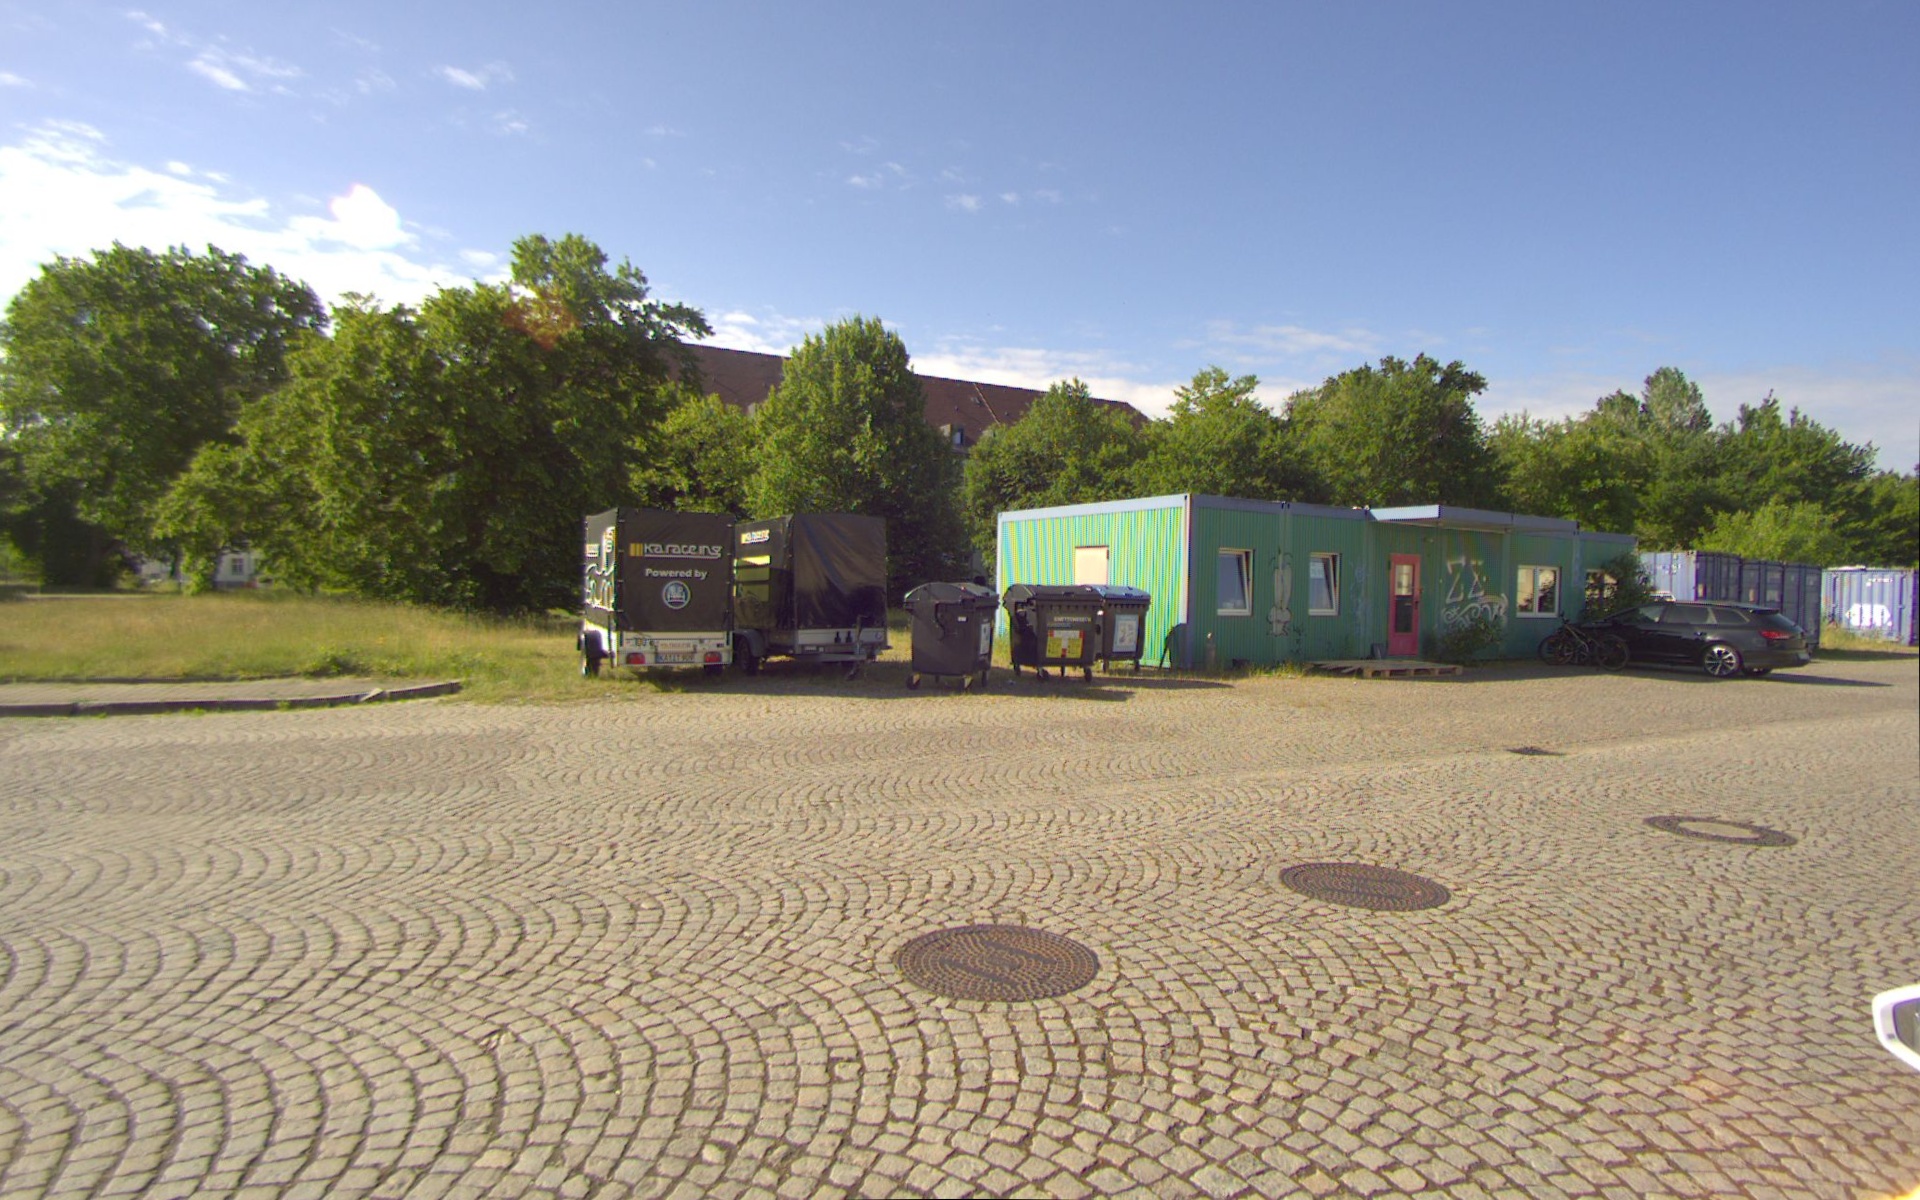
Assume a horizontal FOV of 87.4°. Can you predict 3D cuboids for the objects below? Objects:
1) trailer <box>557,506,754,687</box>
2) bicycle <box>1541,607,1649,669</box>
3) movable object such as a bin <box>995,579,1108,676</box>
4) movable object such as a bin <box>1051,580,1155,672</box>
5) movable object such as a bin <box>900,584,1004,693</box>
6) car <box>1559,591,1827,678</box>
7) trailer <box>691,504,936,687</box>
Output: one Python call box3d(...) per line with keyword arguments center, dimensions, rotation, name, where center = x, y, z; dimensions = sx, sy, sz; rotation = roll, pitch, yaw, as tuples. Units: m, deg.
box3d(center=(-4.747, -0.116, 15.180), dimensions=(1.989, 2.303, 4.434), rotation=(1, 2, -28), name="trailer")
box3d(center=(12.789, 0.740, 20.278), dimensions=(0.665, 1.116, 1.700), rotation=(0, 3, -28), name="bicycle")
box3d(center=(1.385, 0.402, 15.386), dimensions=(1.350, 1.404, 1.077), rotation=(1, 1, -26), name="movable object such as a bin")
box3d(center=(2.405, 0.412, 16.896), dimensions=(1.398, 1.456, 1.075), rotation=(0, 1, -41), name="movable object such as a bin")
box3d(center=(-0.090, 0.488, 13.884), dimensions=(1.027, 1.404, 1.364), rotation=(1, 1, 19), name="movable object such as a bin")
box3d(center=(14.690, 0.624, 20.360), dimensions=(1.714, 1.432, 4.024), rotation=(1, 2, -34), name="car")
box3d(center=(-2.499, -0.140, 15.864), dimensions=(1.923, 2.423, 4.809), rotation=(0, 2, -34), name="trailer")
